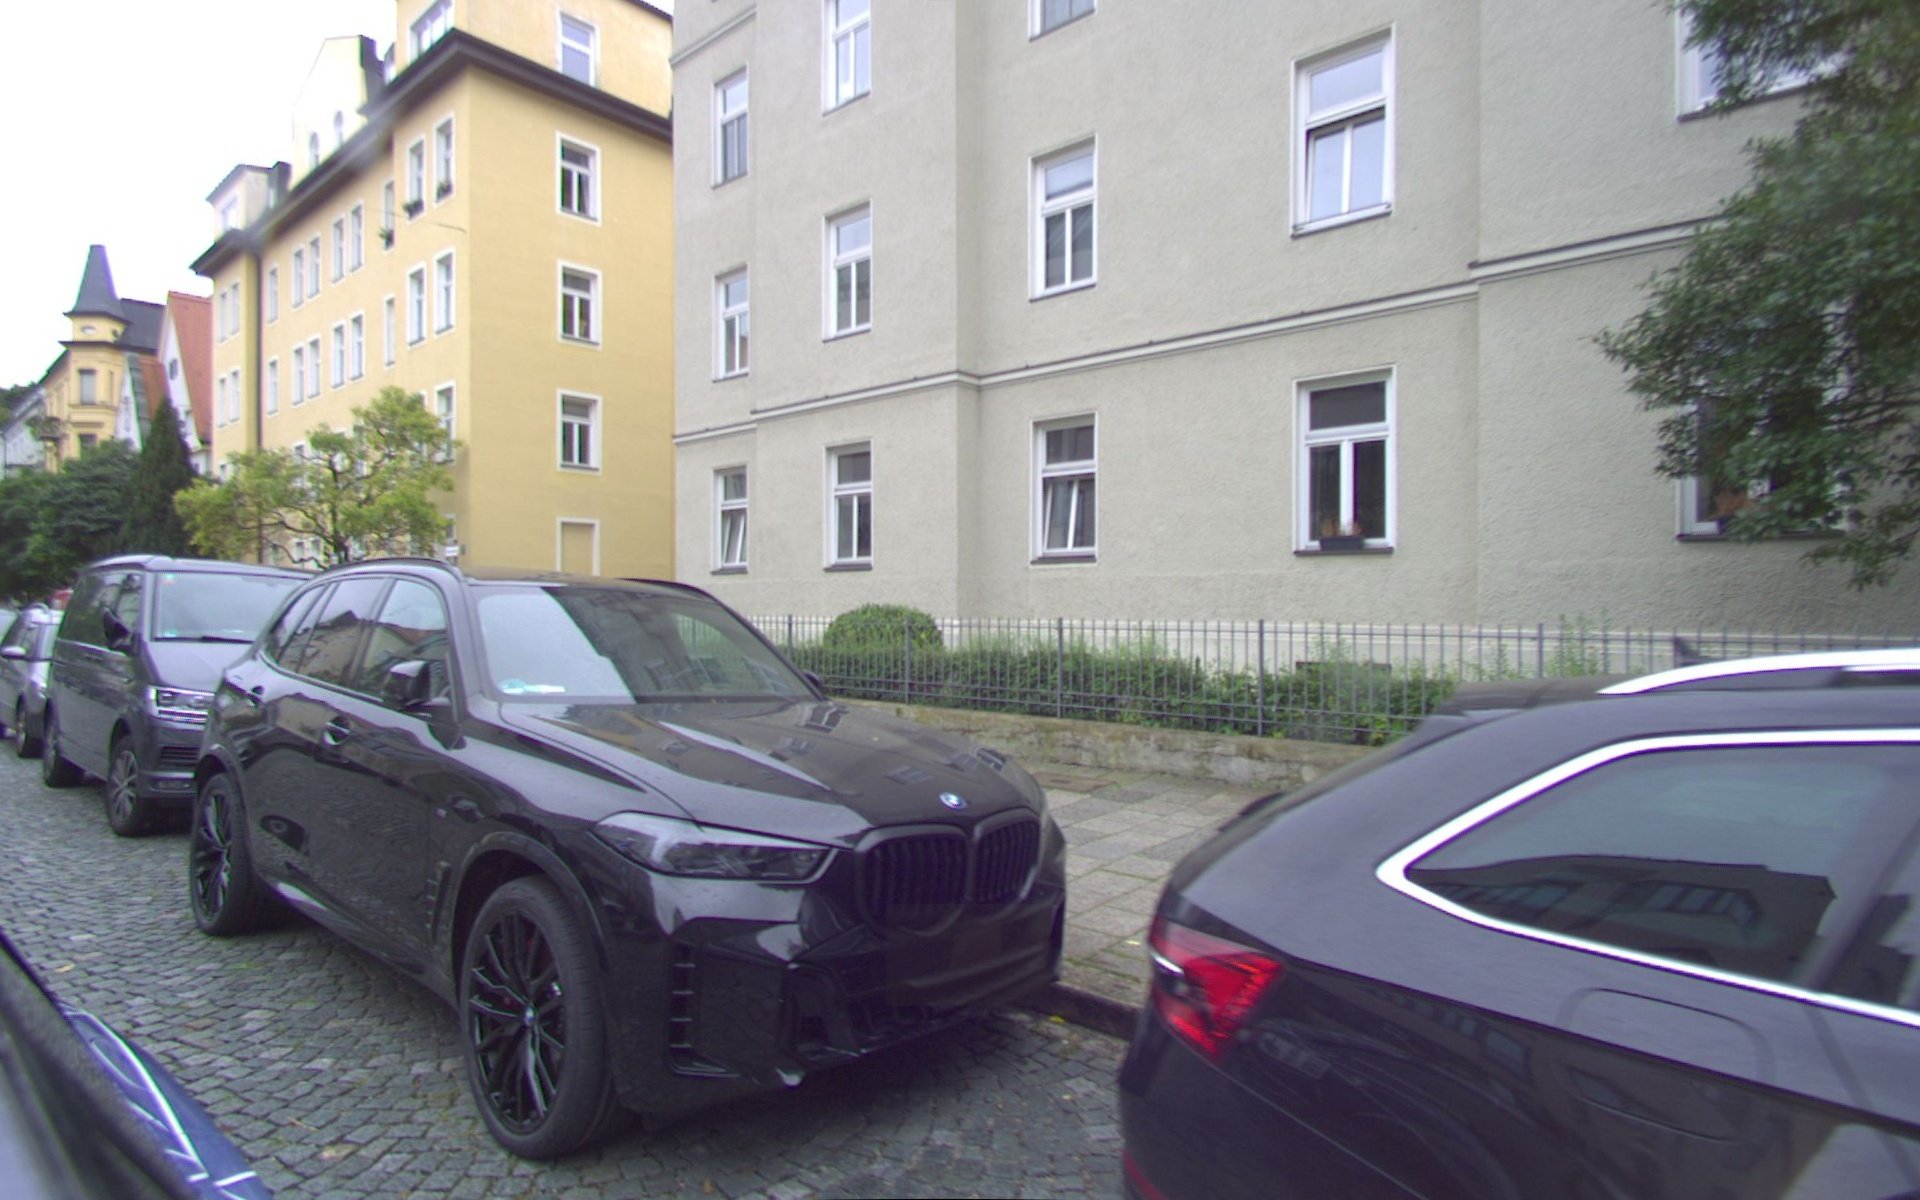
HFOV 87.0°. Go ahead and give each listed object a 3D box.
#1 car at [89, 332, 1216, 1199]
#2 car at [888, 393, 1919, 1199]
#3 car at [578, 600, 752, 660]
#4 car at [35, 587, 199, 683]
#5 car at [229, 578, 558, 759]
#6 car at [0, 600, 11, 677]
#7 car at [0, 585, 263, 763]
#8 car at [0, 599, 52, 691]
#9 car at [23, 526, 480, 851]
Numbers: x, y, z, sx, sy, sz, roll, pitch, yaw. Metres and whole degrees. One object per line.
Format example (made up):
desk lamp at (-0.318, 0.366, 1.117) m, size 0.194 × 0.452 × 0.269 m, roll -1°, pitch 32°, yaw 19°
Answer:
car at (-1.770, 0.560, 4.244) m, size 5.173 × 1.932 × 1.972 m, roll -1°, pitch -4°, yaw 40°
car at (2.382, 0.618, 0.842) m, size 5.016 × 1.573 × 1.957 m, roll -1°, pitch -3°, yaw 42°
car at (-7.626, 0.752, 26.425) m, size 1.833 × 1.434 × 4.025 m, roll 0°, pitch -1°, yaw 41°
car at (-19.413, 0.730, 23.209) m, size 5.326 × 1.945 × 1.974 m, roll -1°, pitch 1°, yaw 40°
car at (-6.984, 0.686, 12.266) m, size 4.654 × 1.748 × 1.925 m, roll -1°, pitch 2°, yaw 40°
car at (-25.107, 0.907, 24.964) m, size 5.173 × 1.823 × 1.985 m, roll -1°, pitch -3°, yaw 42°
car at (-10.189, 0.795, 12.063) m, size 4.398 × 1.748 × 1.847 m, roll -1°, pitch -3°, yaw 39°
car at (-20.189, 0.854, 20.619) m, size 4.754 × 1.748 × 1.897 m, roll -1°, pitch -5°, yaw 42°
car at (-6.004, 0.586, 8.312) m, size 4.824 × 1.932 × 1.854 m, roll -1°, pitch -3°, yaw 40°
